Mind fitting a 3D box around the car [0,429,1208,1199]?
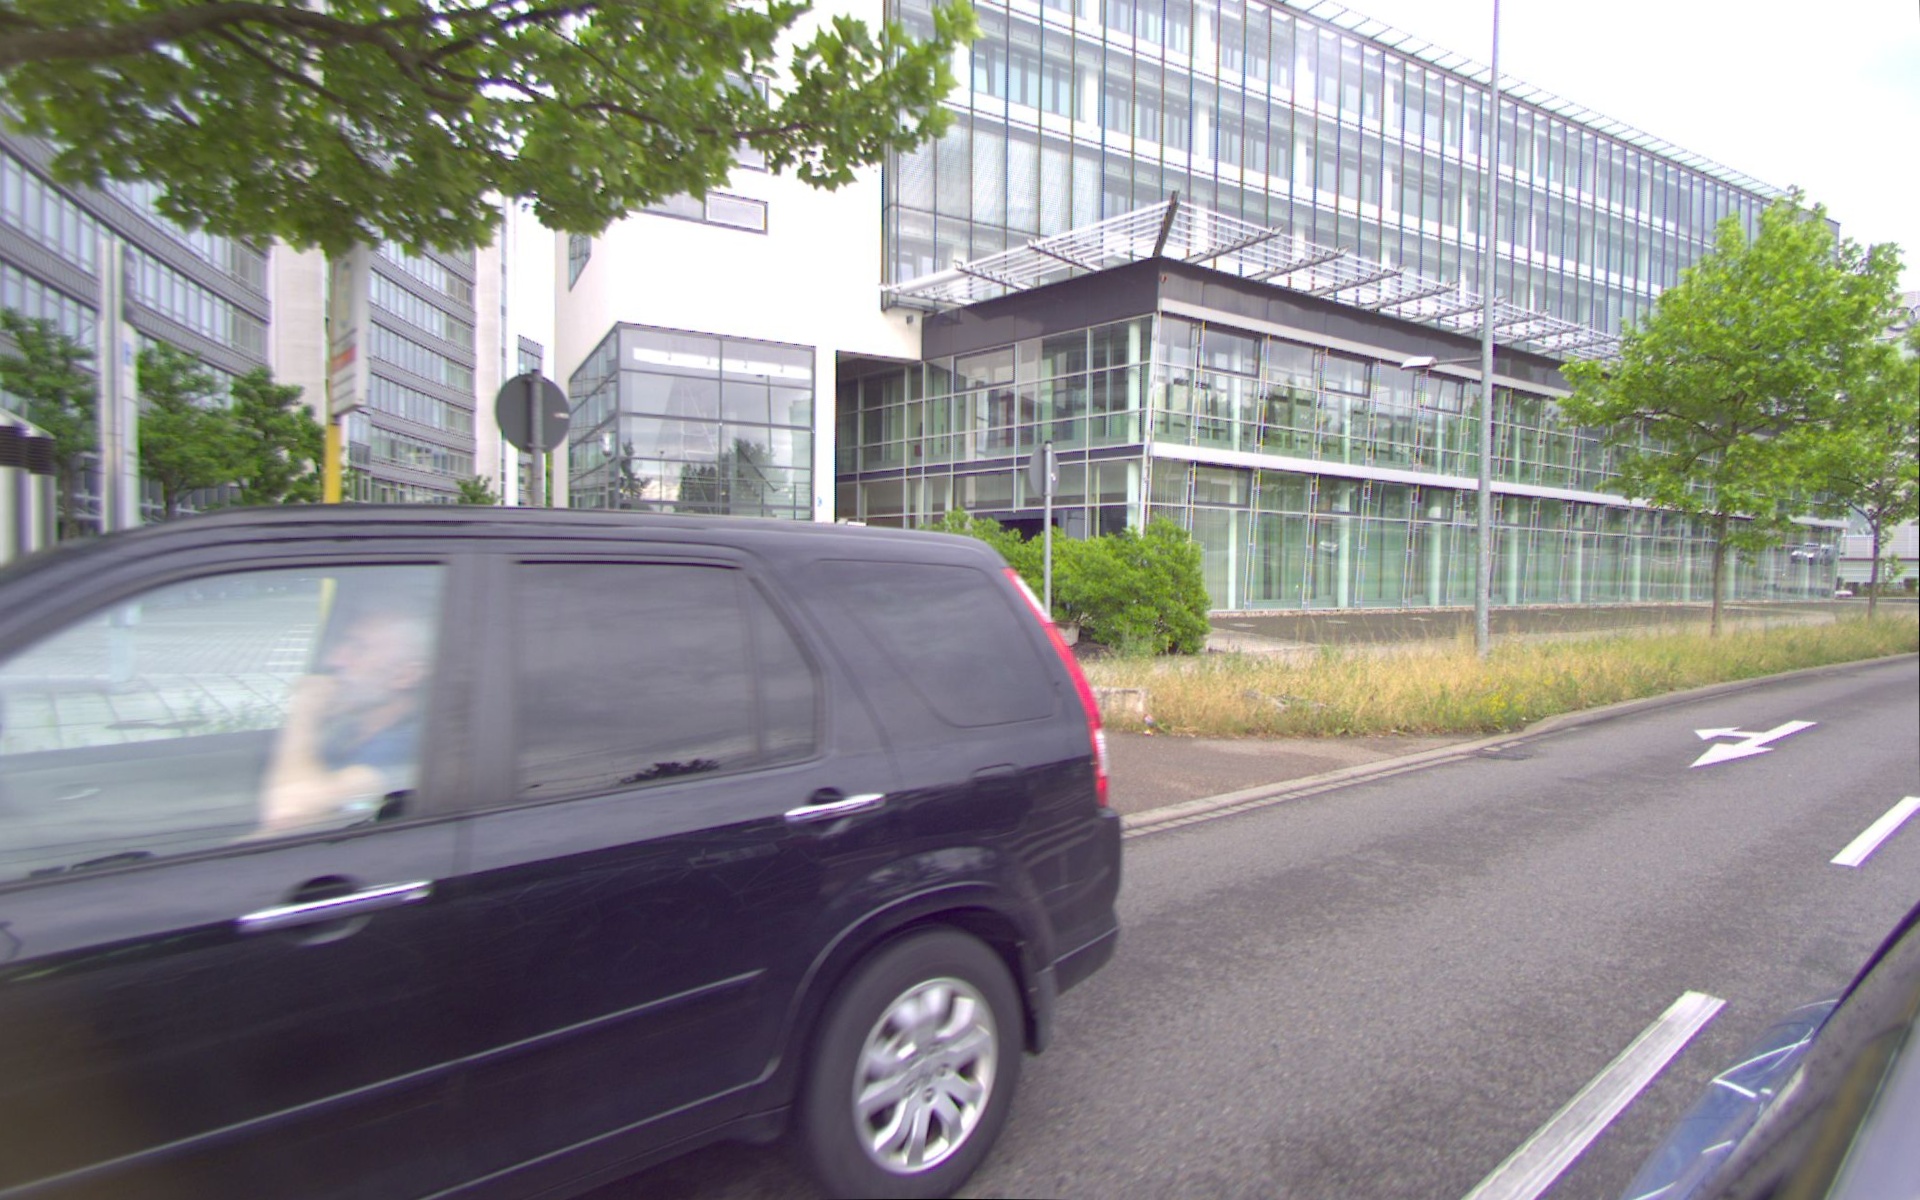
[{"bbox_3d":[-1.439,0.599,2.352,4.249,1.650,1.768,-1,0,-41],"label":"car"}]
